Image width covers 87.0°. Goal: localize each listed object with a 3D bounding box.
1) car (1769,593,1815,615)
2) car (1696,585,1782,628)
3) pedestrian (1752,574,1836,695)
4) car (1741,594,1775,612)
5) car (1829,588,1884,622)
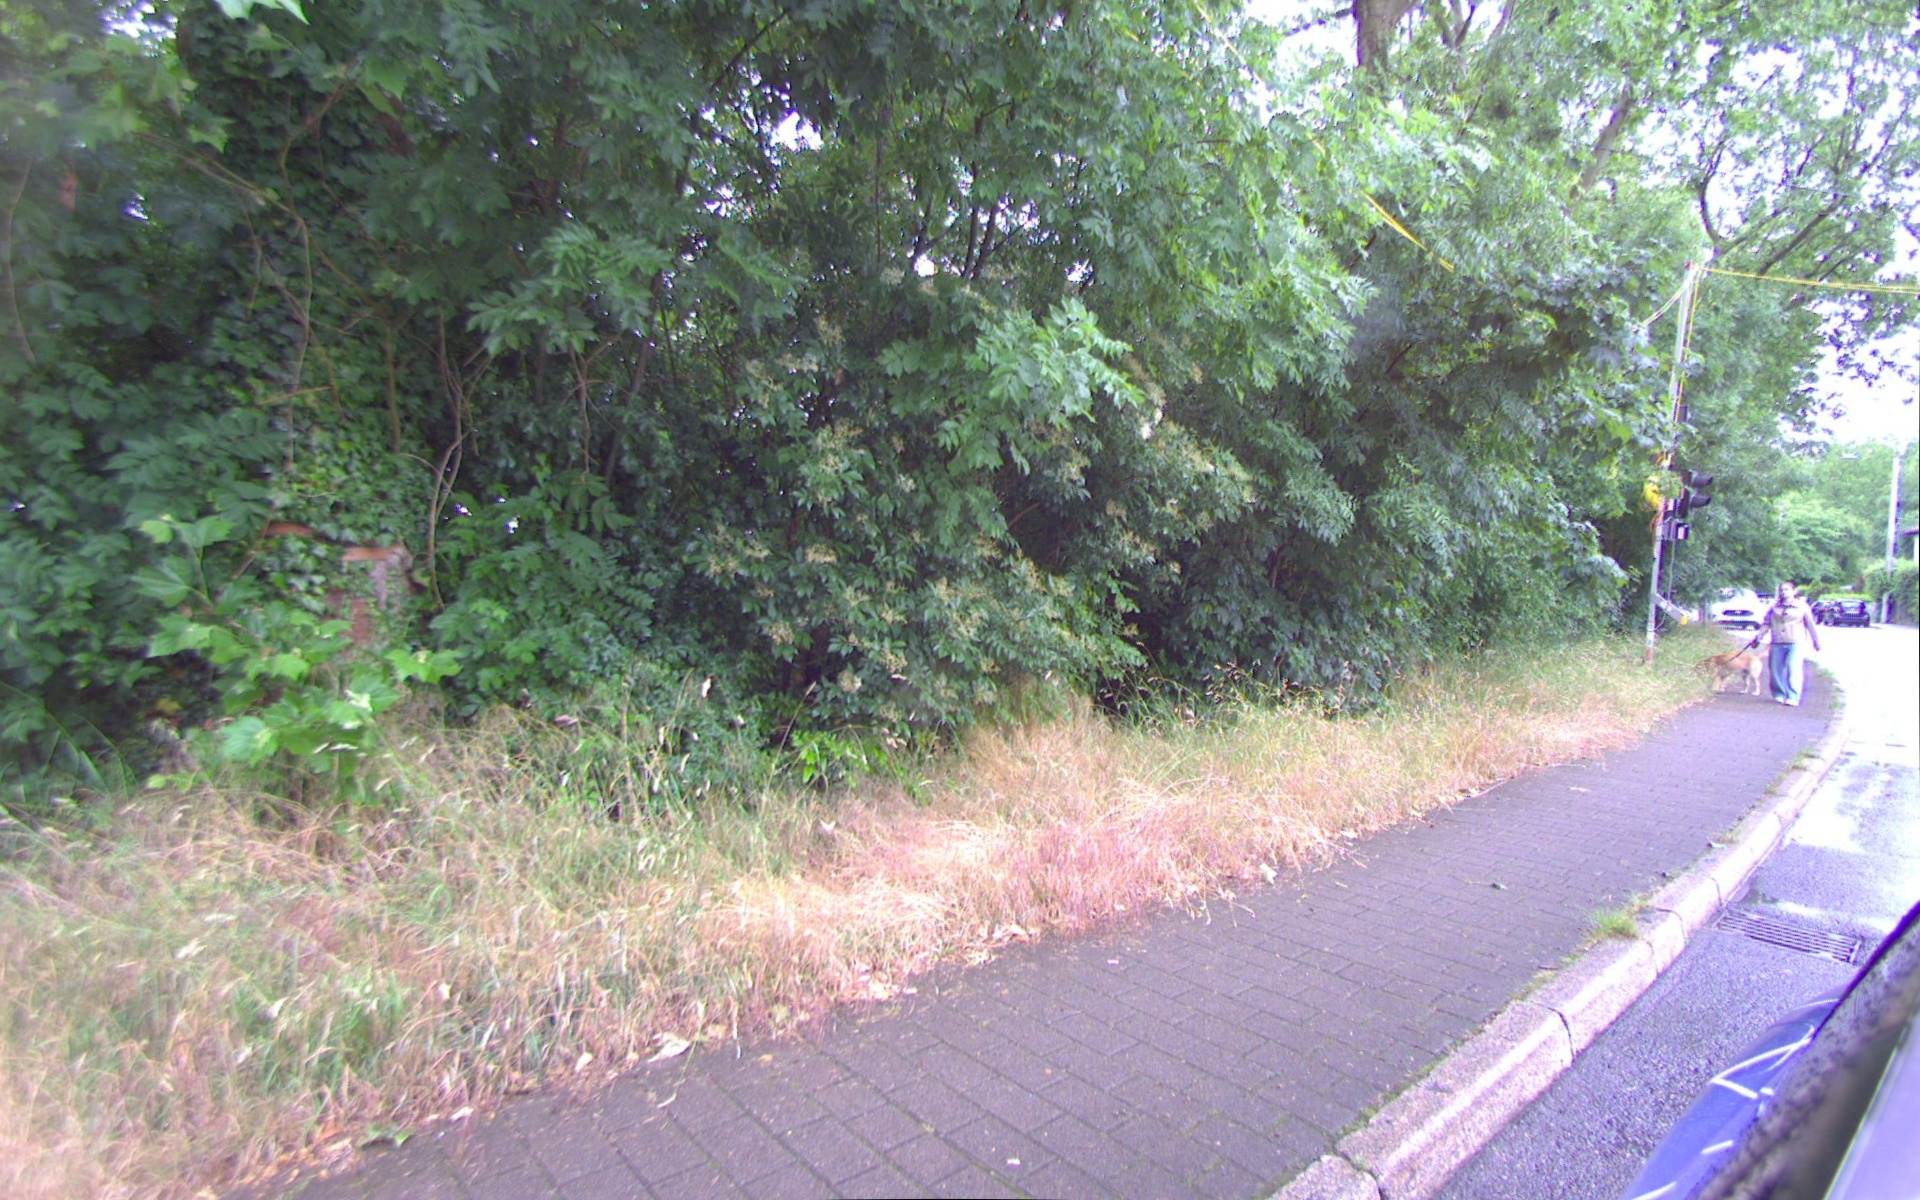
[{"bbox_3d":[60.742,0.283,73.918,2.055,1.504,4.509,1,1,33],"label":"car"},{"bbox_3d":[37.408,0.277,48.748,2.080,1.943,5.050,0,0,23],"label":"car"},{"bbox_3d":[10.865,0.423,13.188,0.771,1.518,0.734,0,0,-42],"label":"pedestrian"},{"bbox_3d":[64.935,0.204,82.371,1.676,1.445,3.734,1,1,31],"label":"car"},{"bbox_3d":[51.056,0.271,57.705,1.869,1.848,4.075,1,1,35],"label":"car"}]
